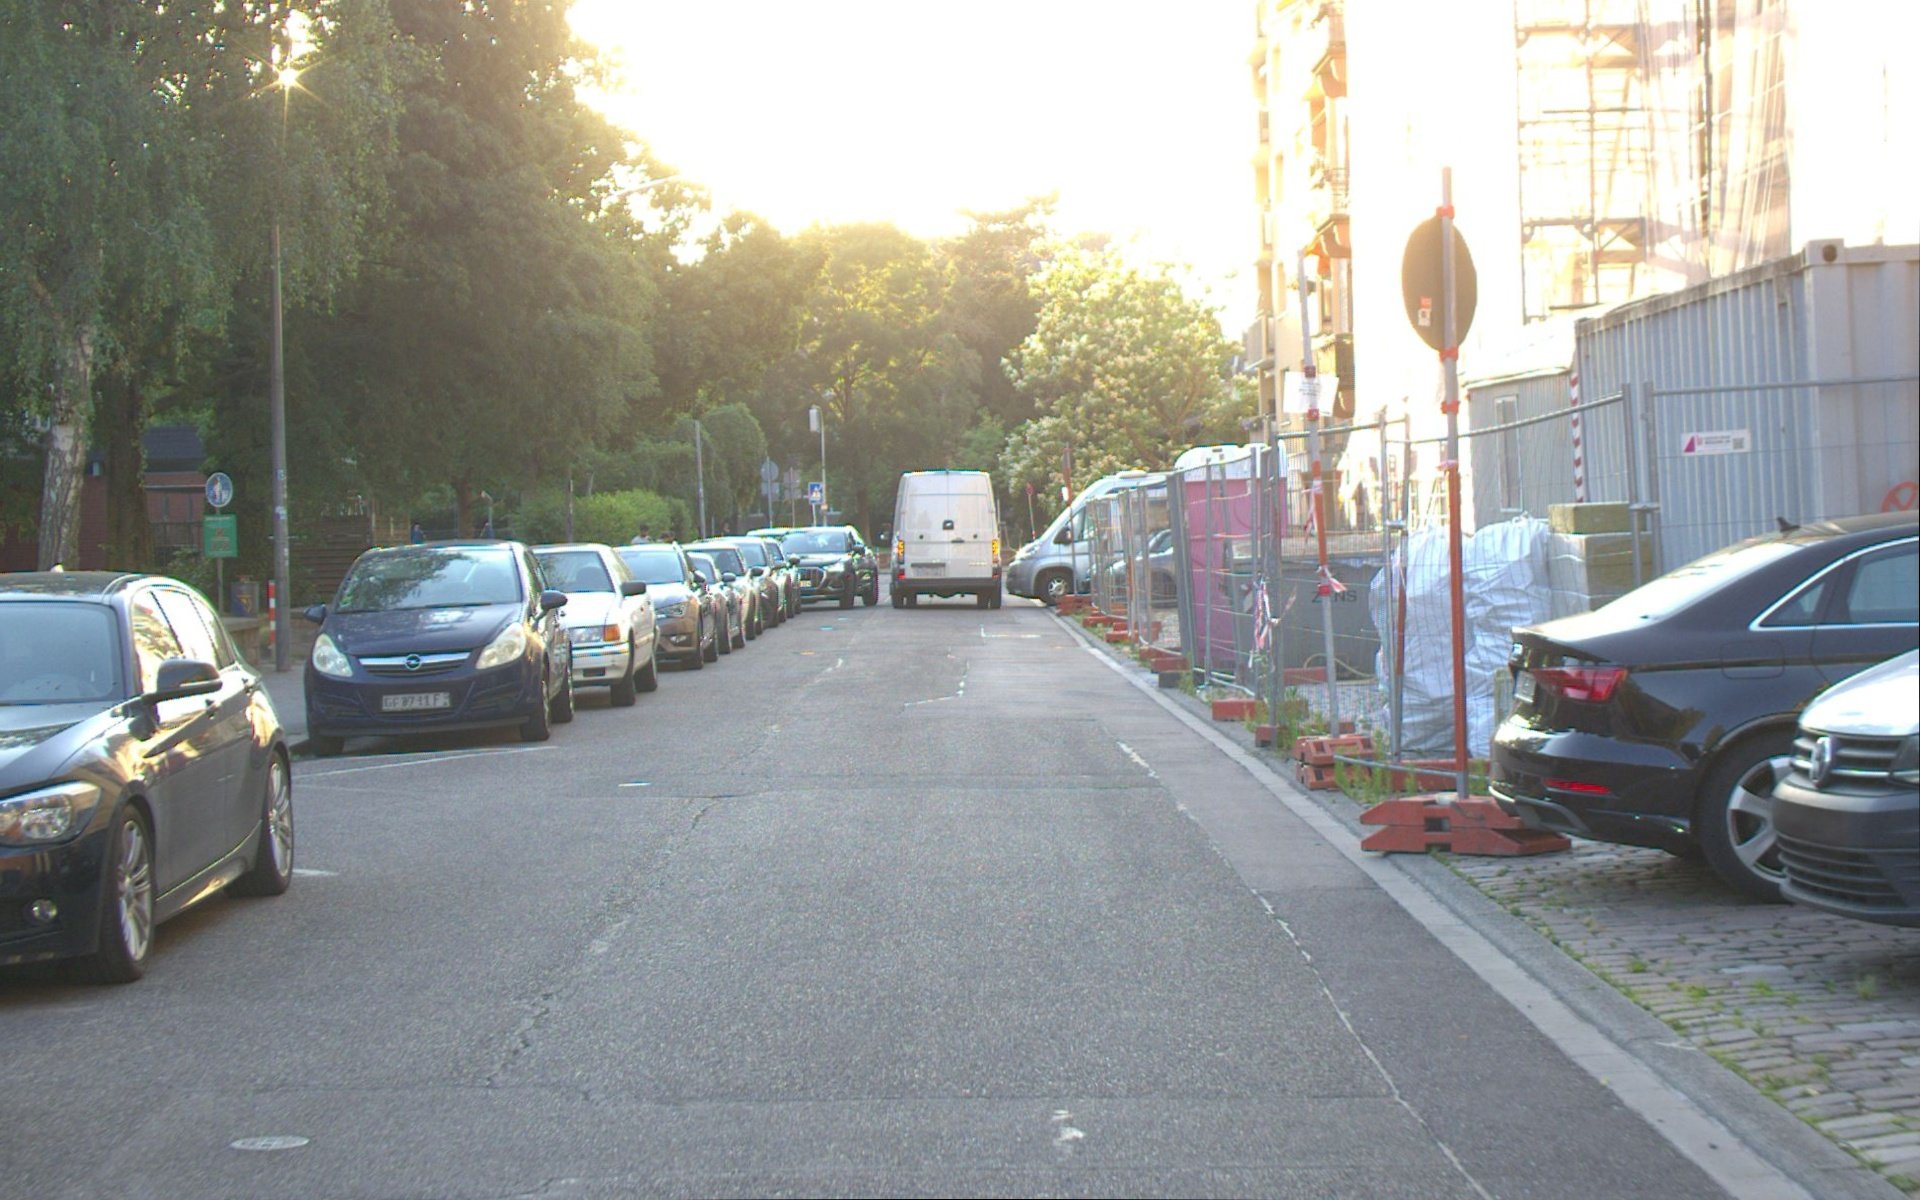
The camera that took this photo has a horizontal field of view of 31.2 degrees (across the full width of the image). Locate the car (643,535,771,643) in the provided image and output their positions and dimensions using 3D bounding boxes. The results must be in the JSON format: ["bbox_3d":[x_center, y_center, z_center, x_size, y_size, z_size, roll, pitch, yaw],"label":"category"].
[{"bbox_3d":[-3.688,-0.189,50.588,1.601,1.426,3.804,-4,1,-1],"label":"car"}]

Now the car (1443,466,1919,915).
[{"bbox_3d":[4.093,0.285,13.443,4.153,1.610,1.872,-1,1,2],"label":"car"}]

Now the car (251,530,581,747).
[{"bbox_3d":[-3.934,0.224,25.478,1.993,1.448,4.001,-1,1,-3],"label":"car"}]

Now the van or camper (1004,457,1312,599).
[{"bbox_3d":[3.852,-1.416,67.807,5.928,2.760,2.110,0,1,-1],"label":"van or camper"}]

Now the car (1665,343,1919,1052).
[{"bbox_3d":[4.611,0.104,10.732,4.265,1.973,1.822,-4,2,-7],"label":"car"}]

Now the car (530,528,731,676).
[{"bbox_3d":[-3.716,-0.026,39.541,1.860,1.532,4.759,-2,1,-1],"label":"car"}]

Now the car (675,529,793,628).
[{"bbox_3d":[-3.705,-0.387,56.994,1.715,1.491,4.361,-3,1,-1],"label":"car"}]

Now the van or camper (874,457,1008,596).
[{"bbox_3d":[-0.348,-1.432,66.877,2.453,2.538,6.083,1,1,0],"label":"van or camper"}]

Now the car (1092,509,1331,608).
[{"bbox_3d":[4.522,-0.764,62.203,3.986,1.510,2.020,-4,1,-4],"label":"car"}]

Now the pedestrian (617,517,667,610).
[{"bbox_3d":[-6.295,-0.731,68.065,0.937,1.824,0.787,0,1,-1],"label":"pedestrian"}]

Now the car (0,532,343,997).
[{"bbox_3d":[-3.730,0.487,12.974,1.993,1.448,4.288,-1,1,0],"label":"car"}]

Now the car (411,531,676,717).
[{"bbox_3d":[-3.660,0.153,30.983,1.782,1.440,4.749,-4,1,-1],"label":"car"}]

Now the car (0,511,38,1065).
[{"bbox_3d":[-3.640,0.572,7.378,1.993,1.514,4.789,-1,1,0],"label":"car"}]

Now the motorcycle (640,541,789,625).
[{"bbox_3d":[-3.836,-0.276,53.803,2.165,1.299,0.879,0,1,14],"label":"motorcycle"}]

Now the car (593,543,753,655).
[{"bbox_3d":[-3.690,-0.050,44.829,1.659,1.309,4.155,-2,1,0],"label":"car"}]

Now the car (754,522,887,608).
[{"bbox_3d":[-2.672,-0.703,66.932,1.805,1.564,4.564,-1,1,7],"label":"car"}]
